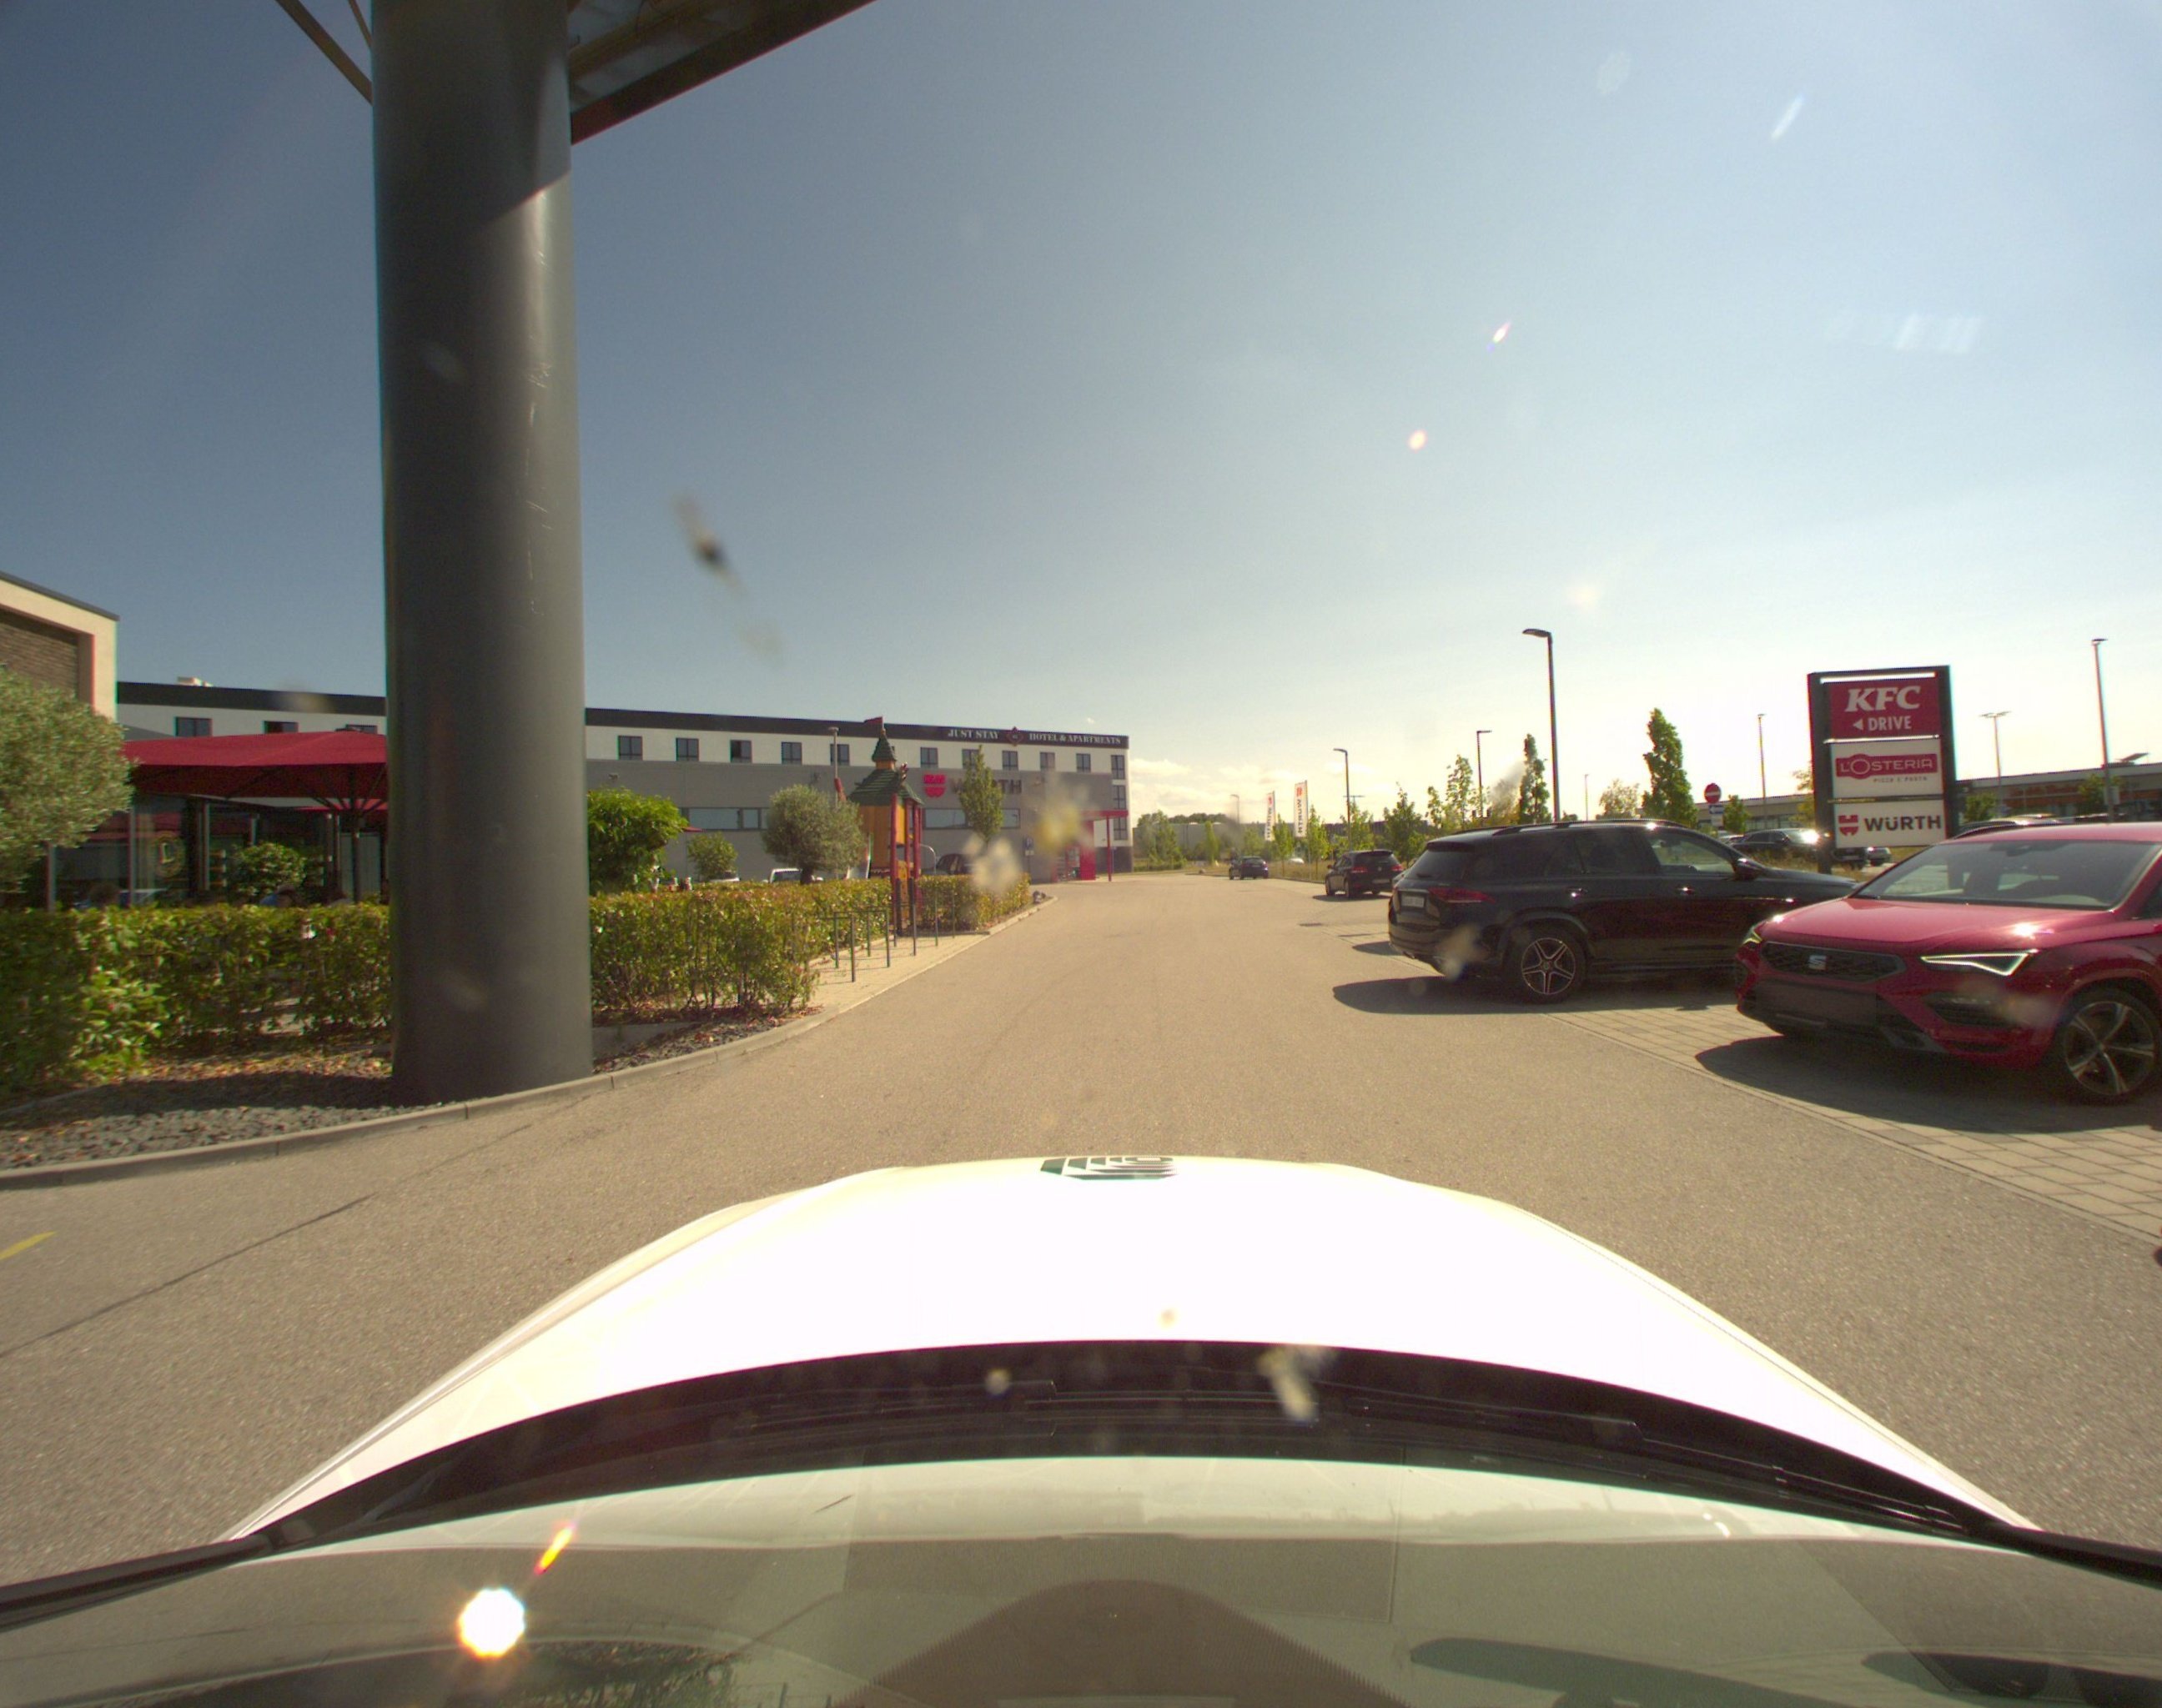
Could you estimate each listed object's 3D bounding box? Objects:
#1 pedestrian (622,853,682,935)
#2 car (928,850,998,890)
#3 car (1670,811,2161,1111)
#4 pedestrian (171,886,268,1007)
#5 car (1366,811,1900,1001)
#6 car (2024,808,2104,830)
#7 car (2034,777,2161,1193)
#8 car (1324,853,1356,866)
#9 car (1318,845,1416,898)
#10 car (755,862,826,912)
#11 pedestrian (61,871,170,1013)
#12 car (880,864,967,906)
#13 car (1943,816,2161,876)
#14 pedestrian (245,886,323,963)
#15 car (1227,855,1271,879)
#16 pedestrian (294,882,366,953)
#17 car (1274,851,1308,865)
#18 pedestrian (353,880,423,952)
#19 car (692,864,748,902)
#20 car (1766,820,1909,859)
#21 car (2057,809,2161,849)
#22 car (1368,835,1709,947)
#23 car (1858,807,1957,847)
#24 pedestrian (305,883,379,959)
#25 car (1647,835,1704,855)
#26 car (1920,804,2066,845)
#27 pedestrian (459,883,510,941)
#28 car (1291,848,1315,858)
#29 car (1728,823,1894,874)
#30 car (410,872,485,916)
[{"bbox_3d":[-9.169,0.843,17.423,0.754,1.687,0.789,-2,0,16],"label":"pedestrian"},{"bbox_3d":[-6.179,0.814,42.085,2.083,1.880,4.835,-2,0,-28],"label":"car"},{"bbox_3d":[6.705,0.548,5.872,4.077,1.609,1.885,-1,0,-16],"label":"car"},{"bbox_3d":[-9.144,0.955,8.666,0.654,1.185,0.476,-2,0,-43],"label":"pedestrian"},{"bbox_3d":[5.726,0.508,8.892,4.561,1.760,1.895,-1,-1,-1],"label":"car"},{"bbox_3d":[72.466,-2.545,60.102,1.432,1.400,3.462,-2,0,-19],"label":"car"},{"bbox_3d":[6.560,0.489,2.826,4.305,1.703,1.895,-1,-1,-1],"label":"car"},{"bbox_3d":[29.225,0.603,91.860,1.652,1.385,3.489,-2,0,-19],"label":"car"},{"bbox_3d":[9.133,0.541,26.372,1.828,1.477,4.123,-4,-1,3],"label":"car"},{"bbox_3d":[-10.135,1.079,28.207,1.957,1.530,4.341,-2,0,-24],"label":"car"},{"bbox_3d":[-9.905,0.874,8.377,0.654,1.366,0.476,-2,0,-43],"label":"pedestrian"},{"bbox_3d":[-5.947,1.104,30.363,1.874,1.362,4.335,-2,0,-29],"label":"car"},{"bbox_3d":[30.738,-0.238,25.911,1.865,1.664,4.606,-2,0,3],"label":"car"},{"bbox_3d":[-13.199,1.146,13.510,0.711,1.198,0.662,-2,0,-26],"label":"pedestrian"},{"bbox_3d":[10.394,0.796,50.643,1.695,1.406,3.891,-1,-1,-4],"label":"car"},{"bbox_3d":[-13.374,1.120,14.508,0.703,1.198,0.619,-2,0,12],"label":"pedestrian"},{"bbox_3d":[23.162,0.481,89.950,1.877,1.483,3.978,-2,0,-16],"label":"car"},{"bbox_3d":[-12.374,1.092,14.559,0.708,1.198,0.614,-2,0,-10],"label":"pedestrian"},{"bbox_3d":[-16.780,1.287,37.775,1.959,1.586,4.335,-2,0,-29],"label":"car"},{"bbox_3d":[31.667,-0.567,34.292,1.865,1.483,4.606,-2,0,3],"label":"car"},{"bbox_3d":[56.784,-1.365,44.550,5.160,2.013,1.994,-2,0,-9],"label":"car"},{"bbox_3d":[7.174,0.552,13.110,4.427,1.487,1.876,-2,0,-1],"label":"car"},{"bbox_3d":[55.083,-1.797,54.303,5.058,2.455,1.994,-2,0,-9],"label":"car"},{"bbox_3d":[-12.332,1.108,13.598,0.702,1.198,0.619,-2,0,18],"label":"pedestrian"},{"bbox_3d":[52.403,-0.803,71.831,3.644,1.618,1.841,-2,0,1],"label":"car"},{"bbox_3d":[55.823,-1.776,49.936,6.281,2.237,2.812,-2,0,-5],"label":"car"},{"bbox_3d":[-11.790,1.137,16.101,0.575,1.089,0.544,-2,0,-2],"label":"pedestrian"},{"bbox_3d":[40.920,-0.171,149.814,3.966,1.658,1.891,-2,0,-26],"label":"car"},{"bbox_3d":[27.322,-0.193,30.759,1.987,1.733,4.759,-2,0,0],"label":"car"},{"bbox_3d":[-25.360,1.564,32.722,1.742,1.567,3.914,-2,0,-29],"label":"car"}]
